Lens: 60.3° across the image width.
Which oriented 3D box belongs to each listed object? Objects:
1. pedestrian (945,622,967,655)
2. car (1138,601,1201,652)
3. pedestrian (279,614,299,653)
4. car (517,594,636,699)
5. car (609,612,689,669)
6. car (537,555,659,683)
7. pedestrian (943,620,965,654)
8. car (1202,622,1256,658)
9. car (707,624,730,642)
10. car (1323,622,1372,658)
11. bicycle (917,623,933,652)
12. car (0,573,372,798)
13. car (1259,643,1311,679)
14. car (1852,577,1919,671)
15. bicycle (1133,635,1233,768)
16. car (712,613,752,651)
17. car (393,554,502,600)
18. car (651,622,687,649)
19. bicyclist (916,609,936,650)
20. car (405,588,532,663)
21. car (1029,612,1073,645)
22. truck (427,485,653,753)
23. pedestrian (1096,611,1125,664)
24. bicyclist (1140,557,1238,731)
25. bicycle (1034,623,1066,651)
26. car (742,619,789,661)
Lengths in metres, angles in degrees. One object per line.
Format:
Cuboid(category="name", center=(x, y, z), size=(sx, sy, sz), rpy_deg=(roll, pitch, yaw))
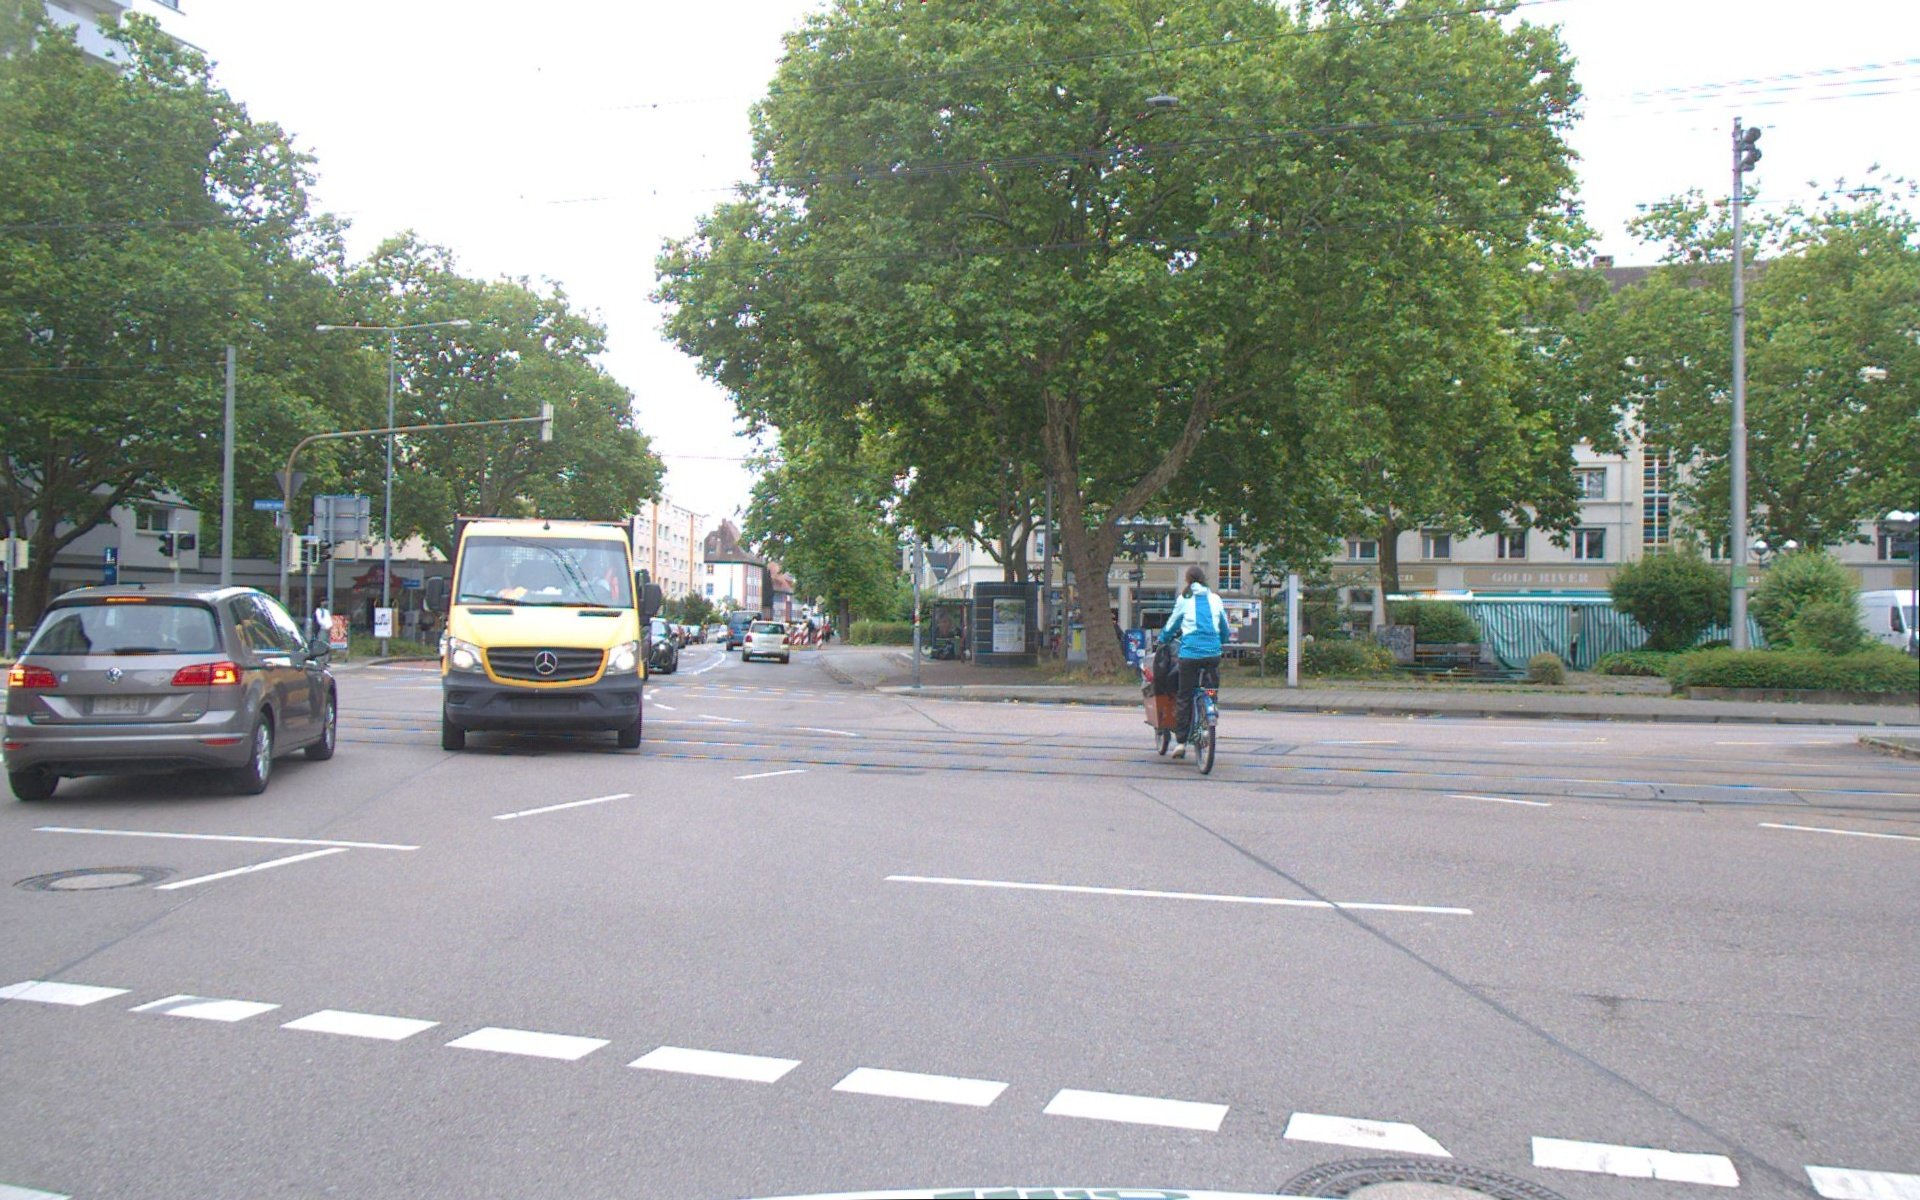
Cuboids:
Cuboid(category="pedestrian", center=(-0.162, 1.574, 68.281), size=(0.837, 1.338, 0.761), rpy_deg=(1, -1, -7))
Cuboid(category="car", center=(9.414, 1.186, 74.090), size=(2.128, 2.239, 4.002), rpy_deg=(0, -1, 17))
Cuboid(category="pedestrian", center=(-26.632, 1.329, 65.652), size=(0.411, 1.572, 0.623), rpy_deg=(0, -1, 16))
Cuboid(category="car", center=(-5.946, 0.705, 25.955), size=(1.636, 1.515, 3.894), rpy_deg=(1, -1, -11))
Cuboid(category="car", center=(-8.337, 1.065, 44.575), size=(1.774, 1.452, 4.311), rpy_deg=(1, -1, -6))
Cuboid(category="car", center=(-7.629, 0.407, 35.337), size=(2.094, 2.494, 5.568), rpy_deg=(1, -1, -8))
Cuboid(category="pedestrian", center=(-0.251, 1.553, 69.185), size=(0.802, 1.396, 0.761), rpy_deg=(1, -1, -7))
Cuboid(category="car", center=(11.940, 1.751, 73.216), size=(1.759, 1.570, 3.828), rpy_deg=(0, -1, 19))
Cuboid(category="car", center=(-20.346, 2.751, 139.680), size=(1.733, 1.512, 3.994), rpy_deg=(1, -1, -6))
Cuboid(category="car", center=(17.041, 1.732, 72.632), size=(1.759, 1.543, 3.828), rpy_deg=(0, -1, 19))
Cuboid(category="bicycle", center=(-1.543, 1.631, 73.027), size=(0.410, 1.264, 1.922), rpy_deg=(1, -1, -10))
Cuboid(category="car", center=(-6.136, 0.613, 13.531), size=(1.700, 1.552, 3.993), rpy_deg=(0, -1, -8))
Cuboid(category="car", center=(14.421, 2.681, 73.323), size=(1.759, 1.466, 3.828), rpy_deg=(0, -1, 19))
Cuboid(category="car", center=(29.028, 0.730, 49.956), size=(2.187, 2.685, 5.451), rpy_deg=(0, -1, 11))
Cuboid(category="bicycle", center=(2.053, 0.907, 15.465), size=(0.484, 1.117, 2.136), rpy_deg=(0, -1, -4))
Cuboid(category="car", center=(-11.606, 1.589, 84.158), size=(1.956, 1.880, 3.992), rpy_deg=(1, -1, -8))
Cuboid(category="car", center=(-21.439, -0.932, 69.264), size=(3.954, 1.736, 1.975), rpy_deg=(2, -2, -36))
Cuboid(category="car", center=(-17.085, 2.060, 97.221), size=(1.818, 1.478, 4.161), rpy_deg=(1, 0, -6))
Cuboid(category="bicyclist", center=(-1.500, 1.280, 72.912), size=(0.746, 1.789, 0.818), rpy_deg=(1, -1, -11))
Cuboid(category="car", center=(-13.063, 0.669, 44.308), size=(1.828, 1.858, 5.225), rpy_deg=(1, -1, 0))
Cuboid(category="car", center=(4.202, 1.323, 76.130), size=(1.482, 1.453, 4.003), rpy_deg=(0, -1, 11))
Cuboid(category="truck", center=(-4.564, 0.186, 18.019), size=(2.040, 2.450, 5.441), rpy_deg=(0, 0, -15))
Cuboid(category="pedestrian", center=(5.081, 1.258, 55.941), size=(0.769, 1.774, 0.923), rpy_deg=(1, -1, -8))
Cuboid(category="bicyclist", center=(2.094, 0.397, 15.220), size=(0.672, 1.544, 1.057), rpy_deg=(0, -1, -5))
Cuboid(category="bicycle", center=(3.880, 1.596, 71.057), size=(0.762, 1.188, 2.333), rpy_deg=(0, -1, 18))
Cuboid(category="car", center=(-7.778, 1.580, 66.203), size=(1.780, 1.620, 3.994), rpy_deg=(0, -1, -7))
